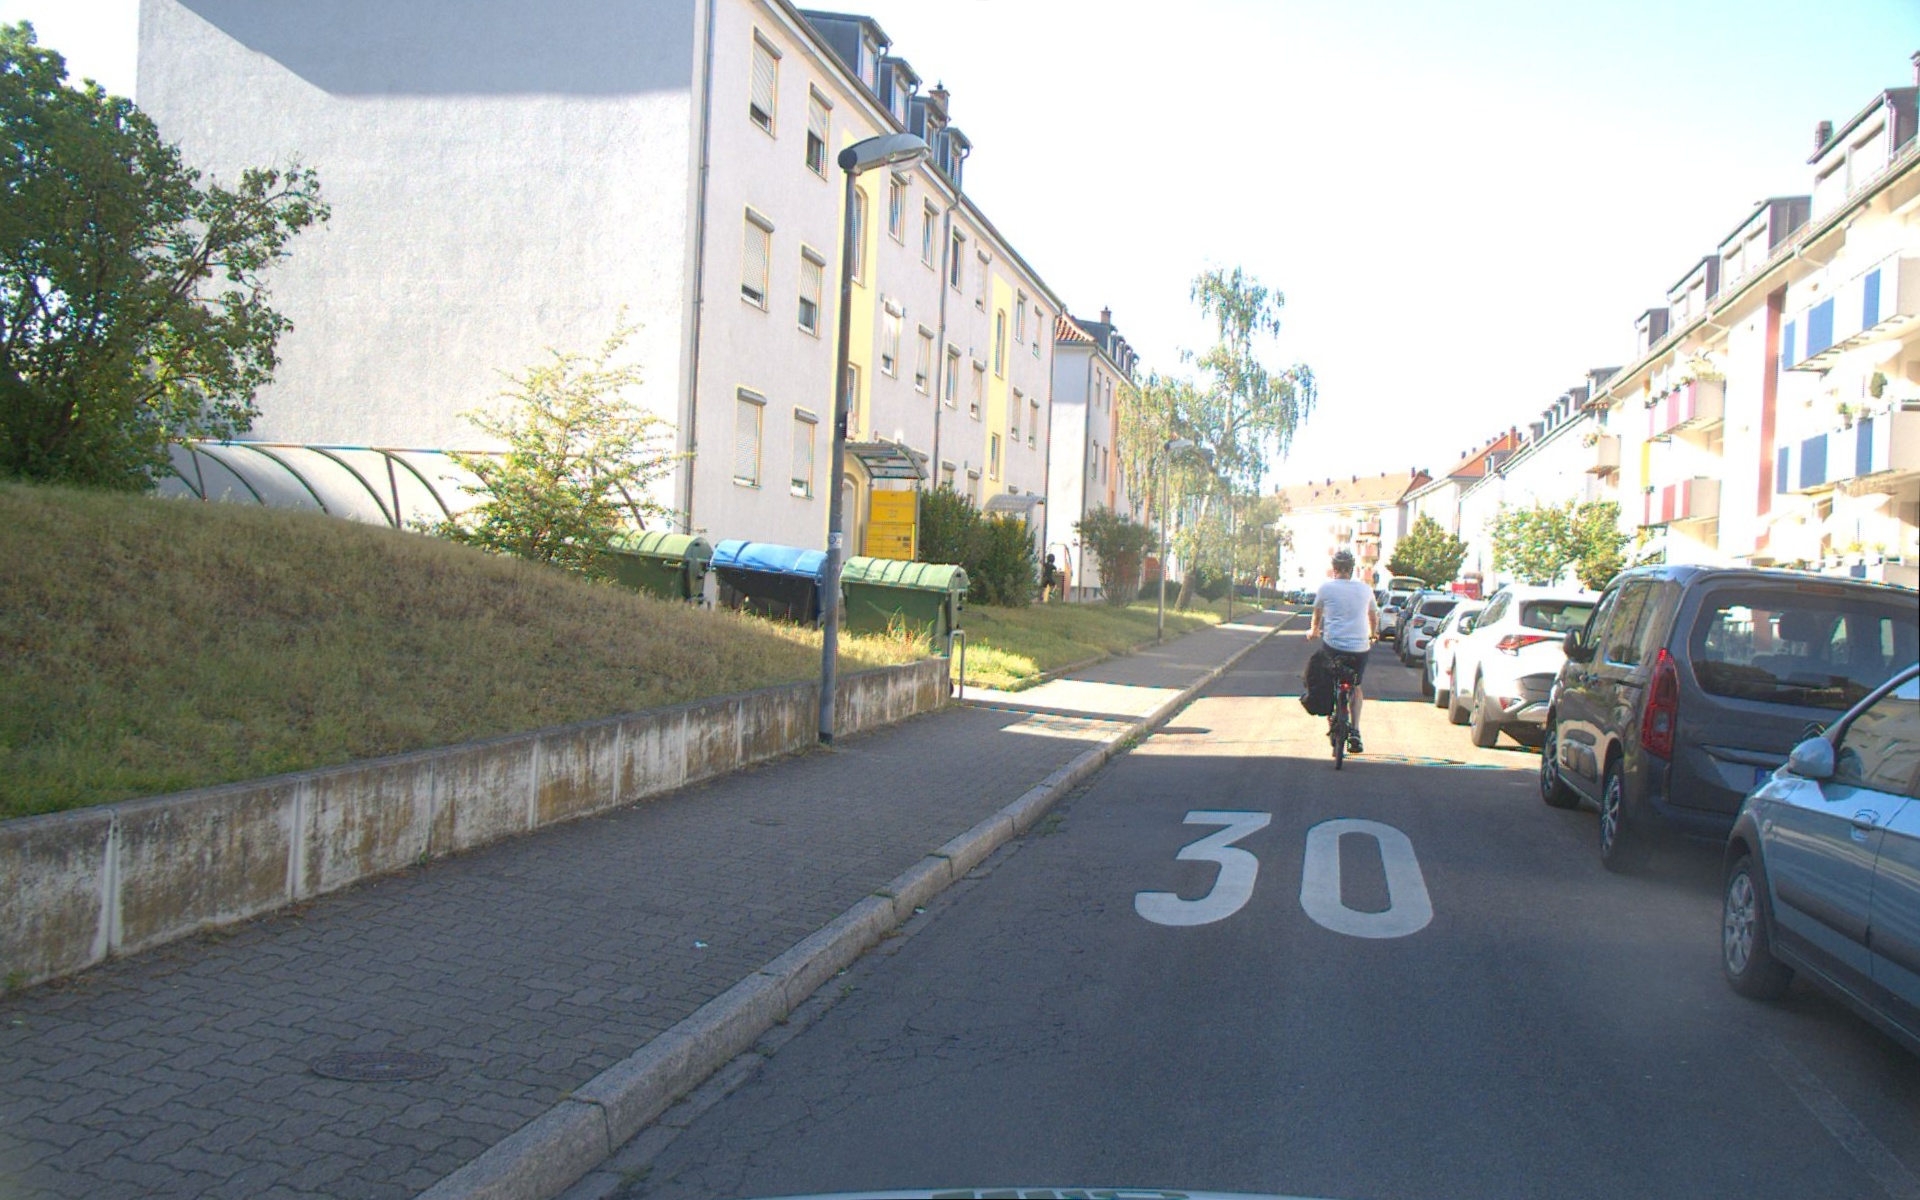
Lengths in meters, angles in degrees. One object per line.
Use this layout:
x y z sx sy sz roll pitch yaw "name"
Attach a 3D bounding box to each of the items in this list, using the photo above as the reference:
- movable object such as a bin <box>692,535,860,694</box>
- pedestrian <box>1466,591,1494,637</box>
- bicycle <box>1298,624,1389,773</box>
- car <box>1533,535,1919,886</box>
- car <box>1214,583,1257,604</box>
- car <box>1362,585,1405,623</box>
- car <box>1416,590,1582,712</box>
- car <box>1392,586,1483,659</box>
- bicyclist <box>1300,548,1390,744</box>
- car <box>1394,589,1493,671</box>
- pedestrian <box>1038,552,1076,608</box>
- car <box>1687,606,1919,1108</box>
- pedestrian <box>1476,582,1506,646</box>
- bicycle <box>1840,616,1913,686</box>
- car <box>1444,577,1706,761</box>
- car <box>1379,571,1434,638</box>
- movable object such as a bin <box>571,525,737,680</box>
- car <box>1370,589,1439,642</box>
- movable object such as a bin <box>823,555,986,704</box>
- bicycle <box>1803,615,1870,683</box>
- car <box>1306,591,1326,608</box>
-2.035 0.149 18.489 1.467 1.651 1.265 3 1 13 "movable object such as a bin"
19.993 0.536 63.580 0.786 1.707 0.703 2 1 -42 "pedestrian"
3.311 0.815 14.400 0.647 1.147 1.767 4 1 11 "bicycle"
4.975 0.570 10.751 1.824 1.760 4.298 3 1 13 "car"
26.114 -0.590 156.780 3.902 1.832 2.002 2 1 12 "car"
19.904 0.176 77.798 1.767 1.632 4.408 3 1 13 "car"
7.420 0.643 23.061 1.719 1.457 3.632 3 1 11 "car"
11.397 0.501 39.675 1.796 1.585 4.003 3 1 13 "car"
3.331 0.388 14.368 0.679 1.624 0.792 2 0 11 "bicyclist"
10.147 0.588 34.886 1.597 1.516 3.626 5 1 11 "car"
2.751 -0.558 46.946 0.845 1.548 1.069 3 0 13 "pedestrian"
3.764 0.803 5.385 1.618 1.454 3.903 3 1 10 "car"
17.387 0.457 54.168 0.774 2.048 1.083 2 0 13 "pedestrian"
15.643 0.852 28.268 0.547 1.123 1.831 3 1 13 "bicycle"
6.379 0.635 17.633 1.941 1.619 4.128 3 1 12 "car"
15.657 0.145 58.143 1.585 2.181 4.003 3 1 13 "car"
-3.452 0.019 18.775 1.428 1.641 1.192 3 1 13 "movable object such as a bin"
14.069 0.463 52.516 1.854 1.522 4.095 3 1 13 "car"
-0.591 0.306 18.257 1.460 1.504 1.266 3 1 13 "movable object such as a bin"
15.021 0.825 28.383 0.503 1.072 1.867 3 1 13 "bicycle"
36.807 -0.050 170.926 1.719 1.603 3.907 2 1 9 "car"
